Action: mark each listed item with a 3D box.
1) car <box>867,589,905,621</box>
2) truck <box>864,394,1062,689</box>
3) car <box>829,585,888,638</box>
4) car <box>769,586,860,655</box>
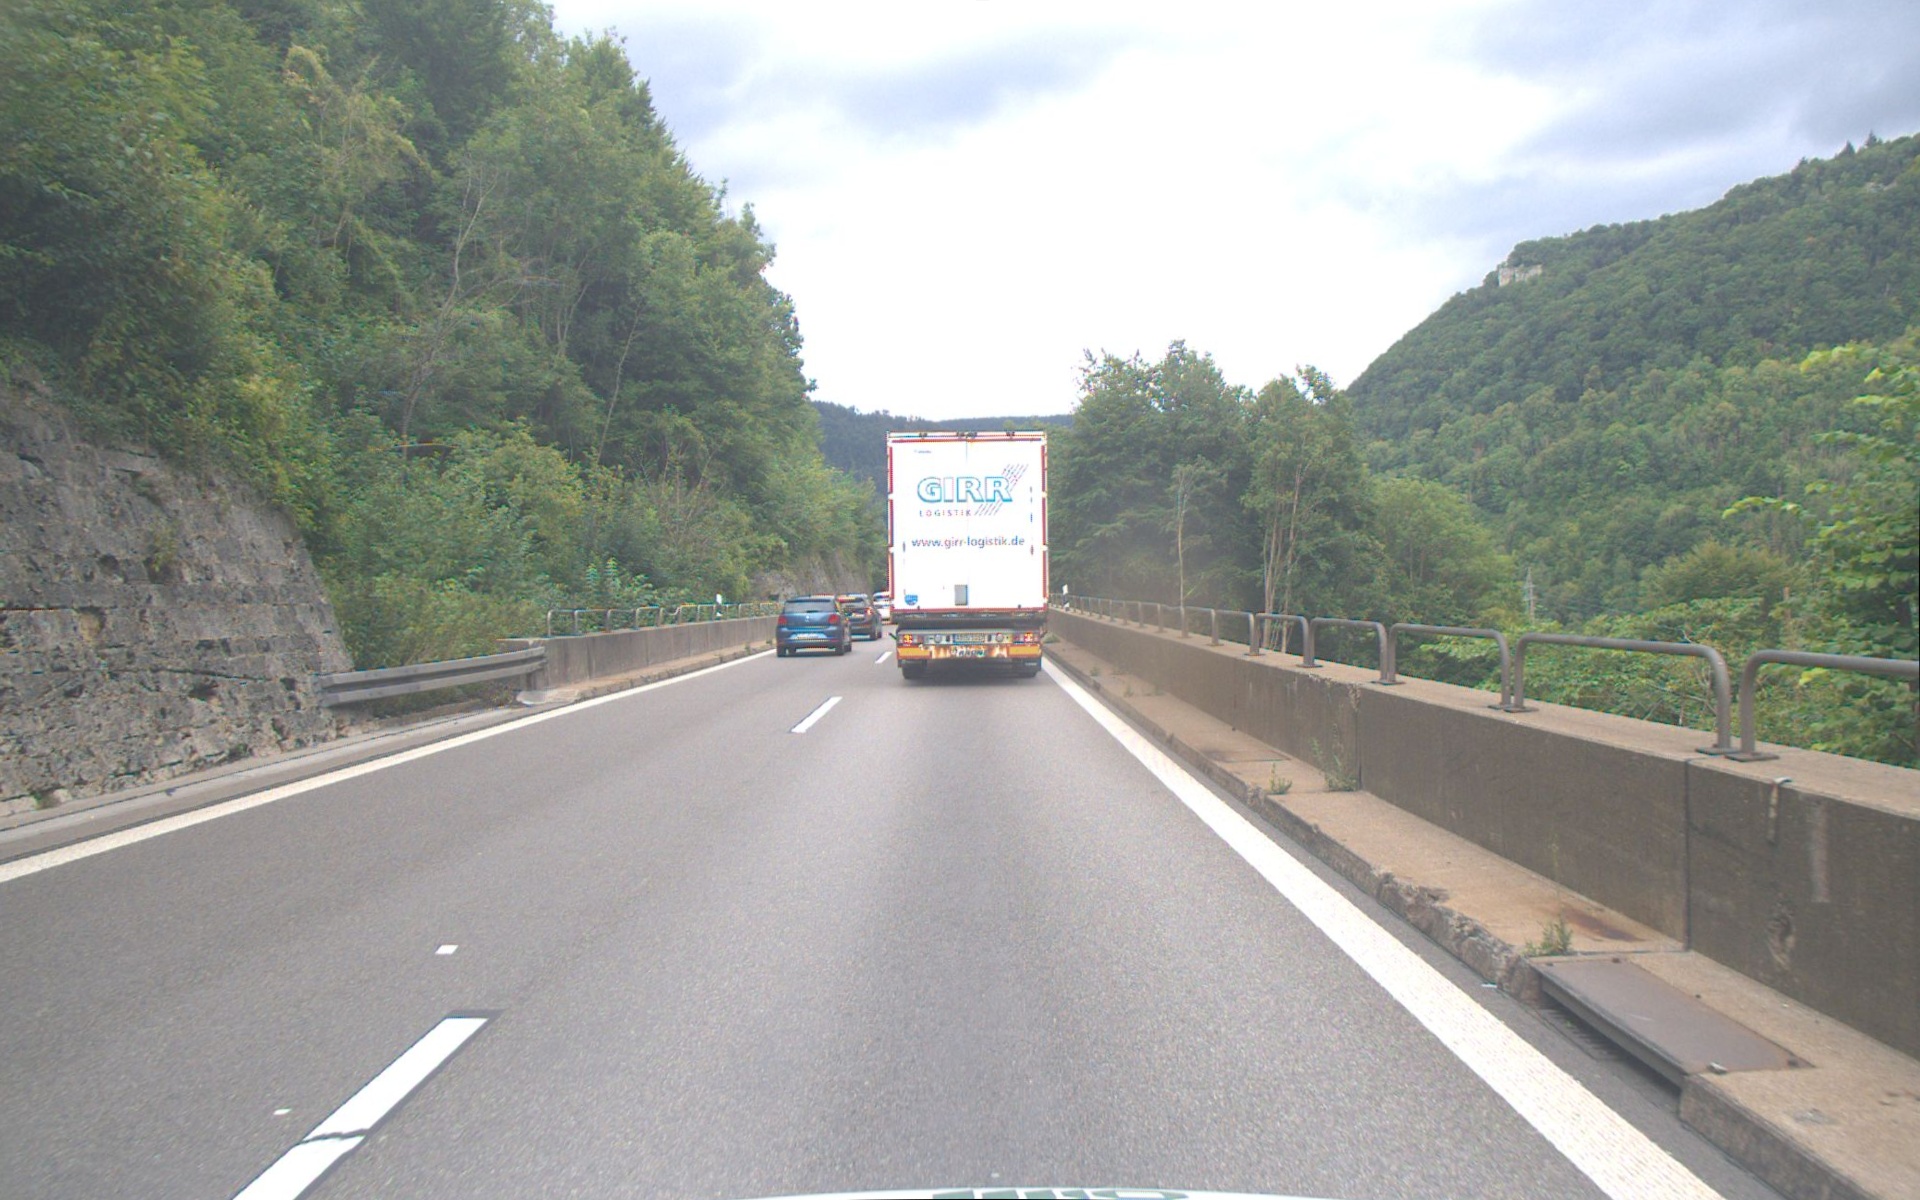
[{"bbox_3d":[-3.641,0.241,81.682,1.710,1.512,3.999,0,0,-1],"label":"car"},{"bbox_3d":[0.141,-0.949,33.133,3.021,4.542,15.157,0,0,1],"label":"truck"},{"bbox_3d":[-3.209,0.336,52.914,1.710,1.614,3.999,0,0,-1],"label":"car"},{"bbox_3d":[-3.566,0.469,41.257,1.953,1.624,4.353,0,0,-1],"label":"car"}]
